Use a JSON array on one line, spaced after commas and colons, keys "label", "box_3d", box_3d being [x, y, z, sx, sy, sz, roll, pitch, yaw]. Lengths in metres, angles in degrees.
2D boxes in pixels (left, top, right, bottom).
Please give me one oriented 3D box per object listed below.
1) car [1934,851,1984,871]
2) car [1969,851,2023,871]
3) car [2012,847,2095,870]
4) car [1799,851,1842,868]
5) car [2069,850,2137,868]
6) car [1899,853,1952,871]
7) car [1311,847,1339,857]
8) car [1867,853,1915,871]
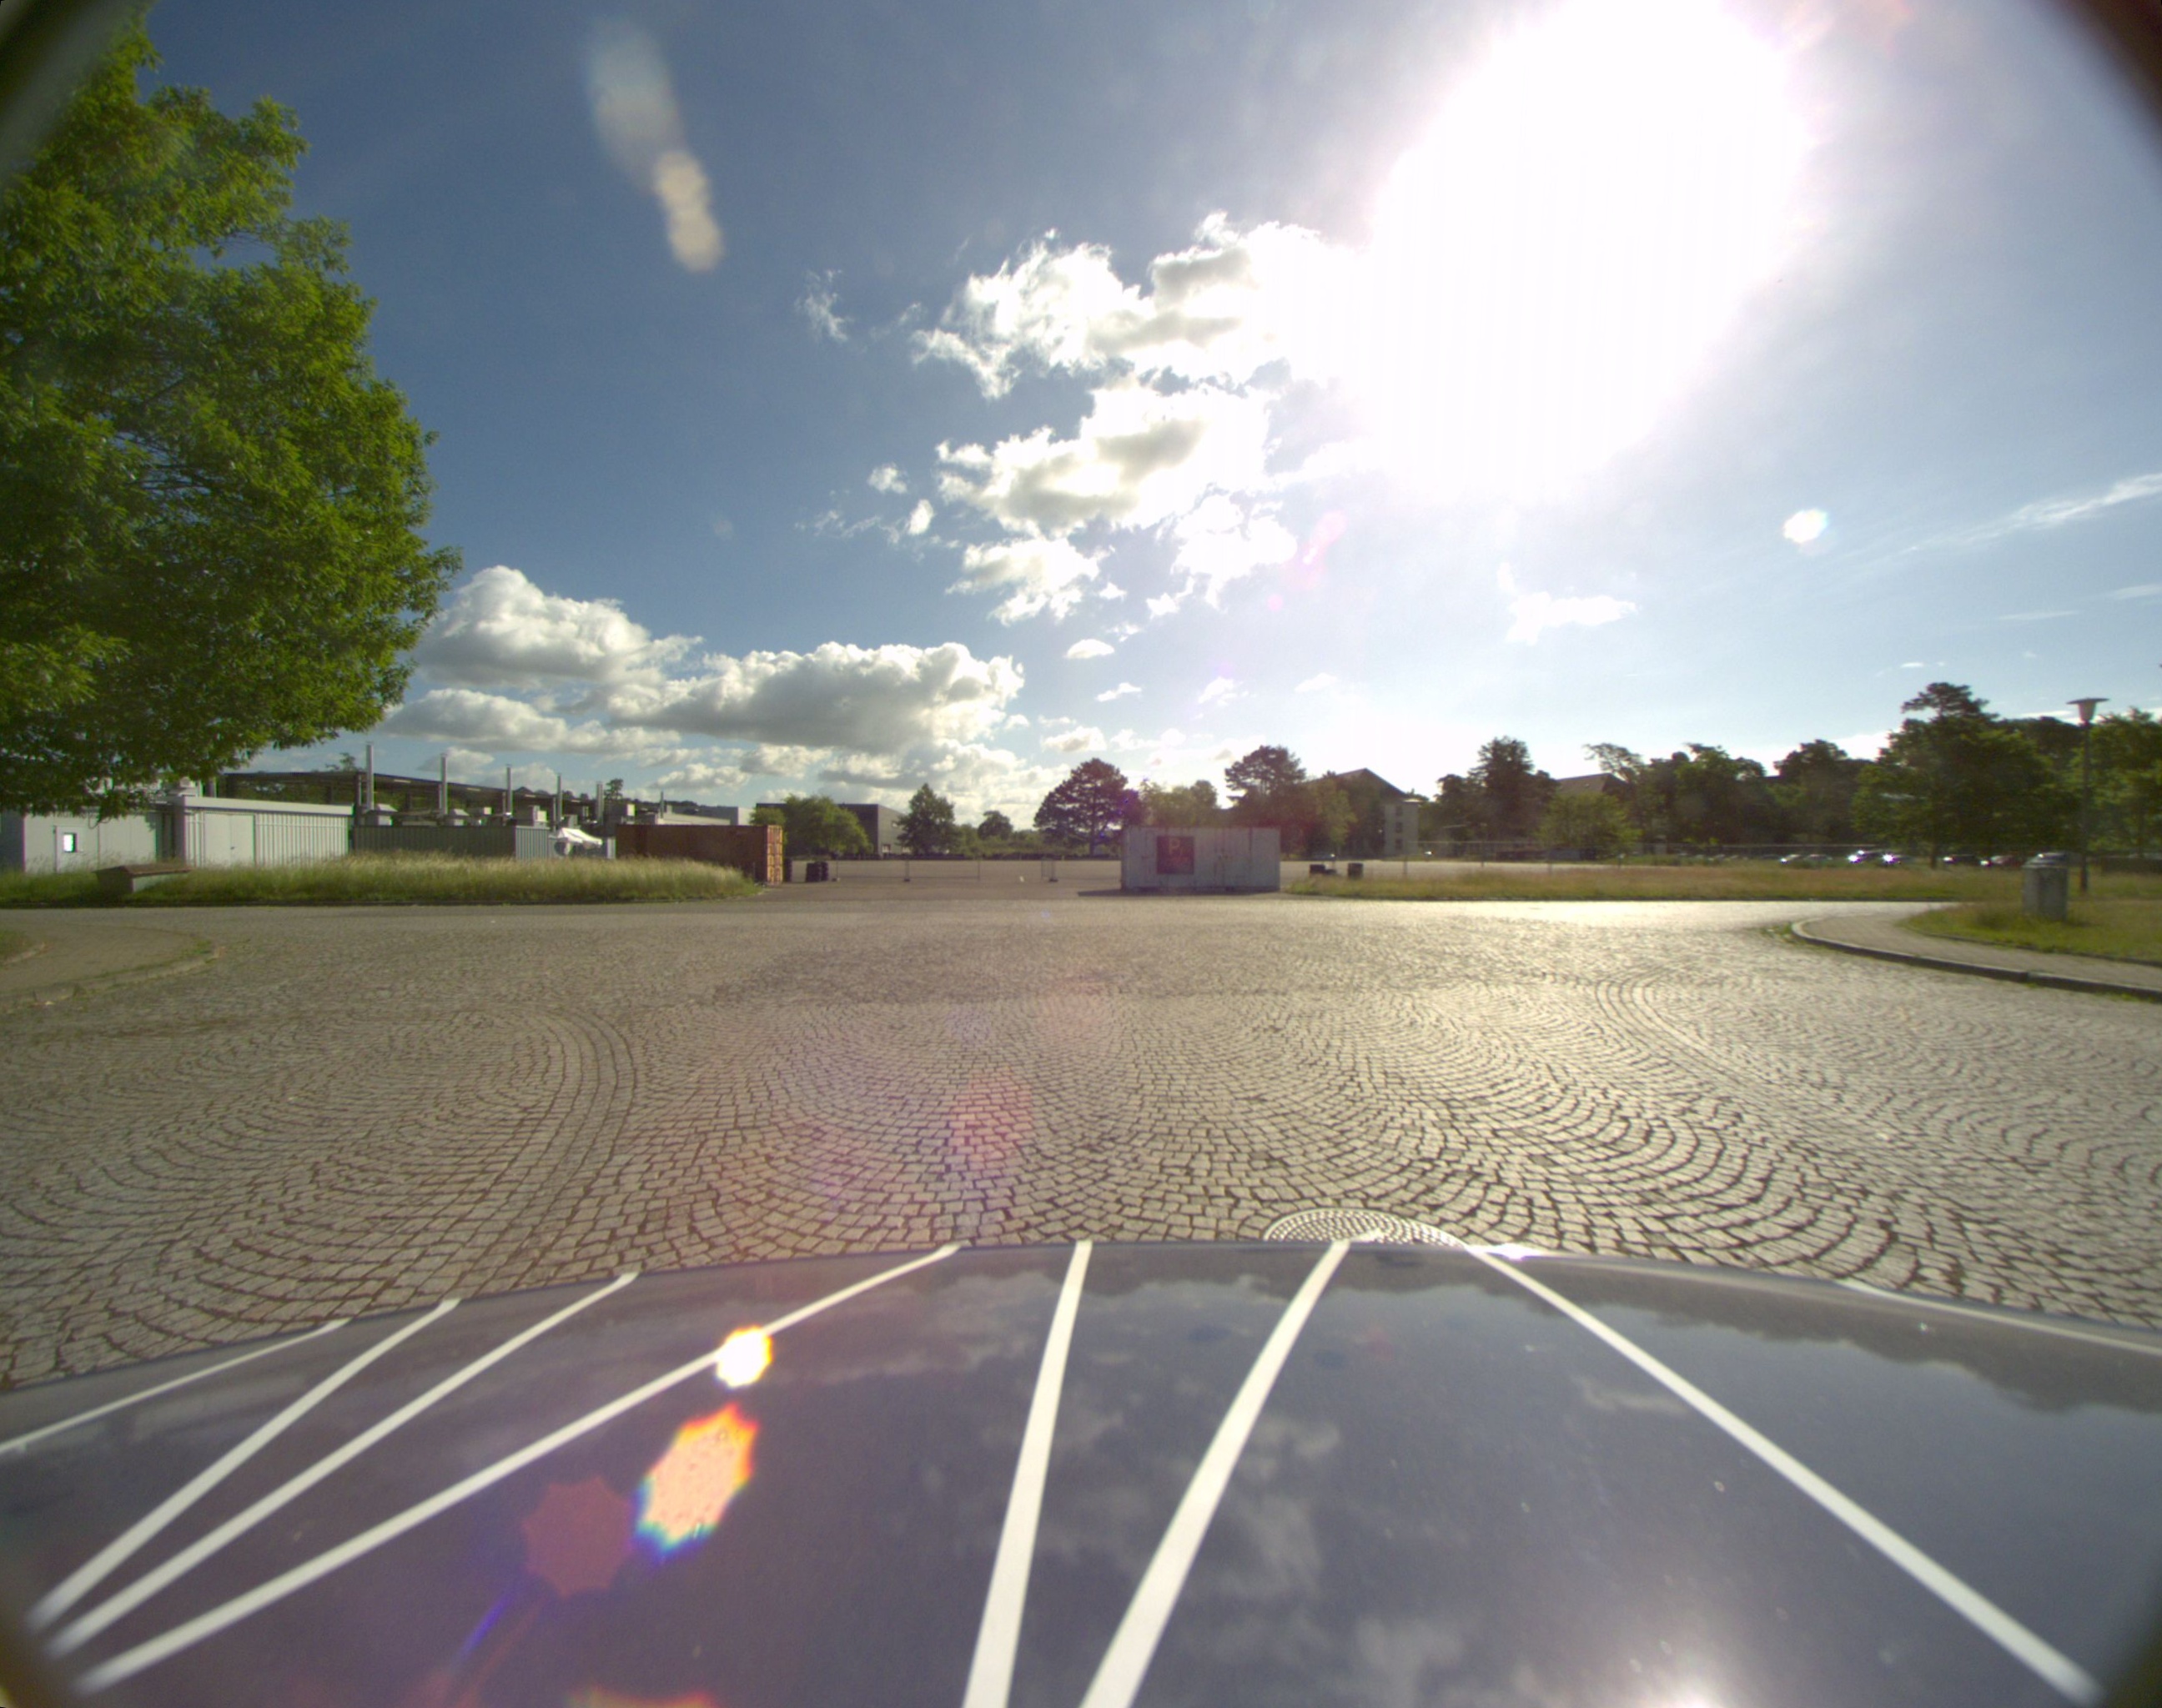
[{"label": "car", "box_3d": [92.788, 0.747, 80.311, 3.619, 2.002, 1.741, 0, 1, -6]}, {"label": "car", "box_3d": [93.382, 0.695, 77.551, 3.619, 2.002, 1.741, 0, 1, -6]}, {"label": "car", "box_3d": [94.496, 0.453, 73.872, 6.032, 2.001, 1.999, -1, 0, -5]}, {"label": "car", "box_3d": [91.710, 0.671, 94.256, 3.850, 2.002, 1.742, 0, 1, -4]}, {"label": "car", "box_3d": [94.161, 0.477, 70.035, 3.999, 1.642, 1.998, 0, 1, -6]}, {"label": "car", "box_3d": [93.760, 0.882, 84.361, 4.000, 2.002, 1.998, 0, 1, -7]}, {"label": "car", "box_3d": [40.078, -0.349, 124.833, 4.000, 1.573, 1.998, 0, 1, -10]}, {"label": "car", "box_3d": [92.142, 0.849, 86.488, 3.851, 2.002, 1.741, 0, 1, -6]}]
